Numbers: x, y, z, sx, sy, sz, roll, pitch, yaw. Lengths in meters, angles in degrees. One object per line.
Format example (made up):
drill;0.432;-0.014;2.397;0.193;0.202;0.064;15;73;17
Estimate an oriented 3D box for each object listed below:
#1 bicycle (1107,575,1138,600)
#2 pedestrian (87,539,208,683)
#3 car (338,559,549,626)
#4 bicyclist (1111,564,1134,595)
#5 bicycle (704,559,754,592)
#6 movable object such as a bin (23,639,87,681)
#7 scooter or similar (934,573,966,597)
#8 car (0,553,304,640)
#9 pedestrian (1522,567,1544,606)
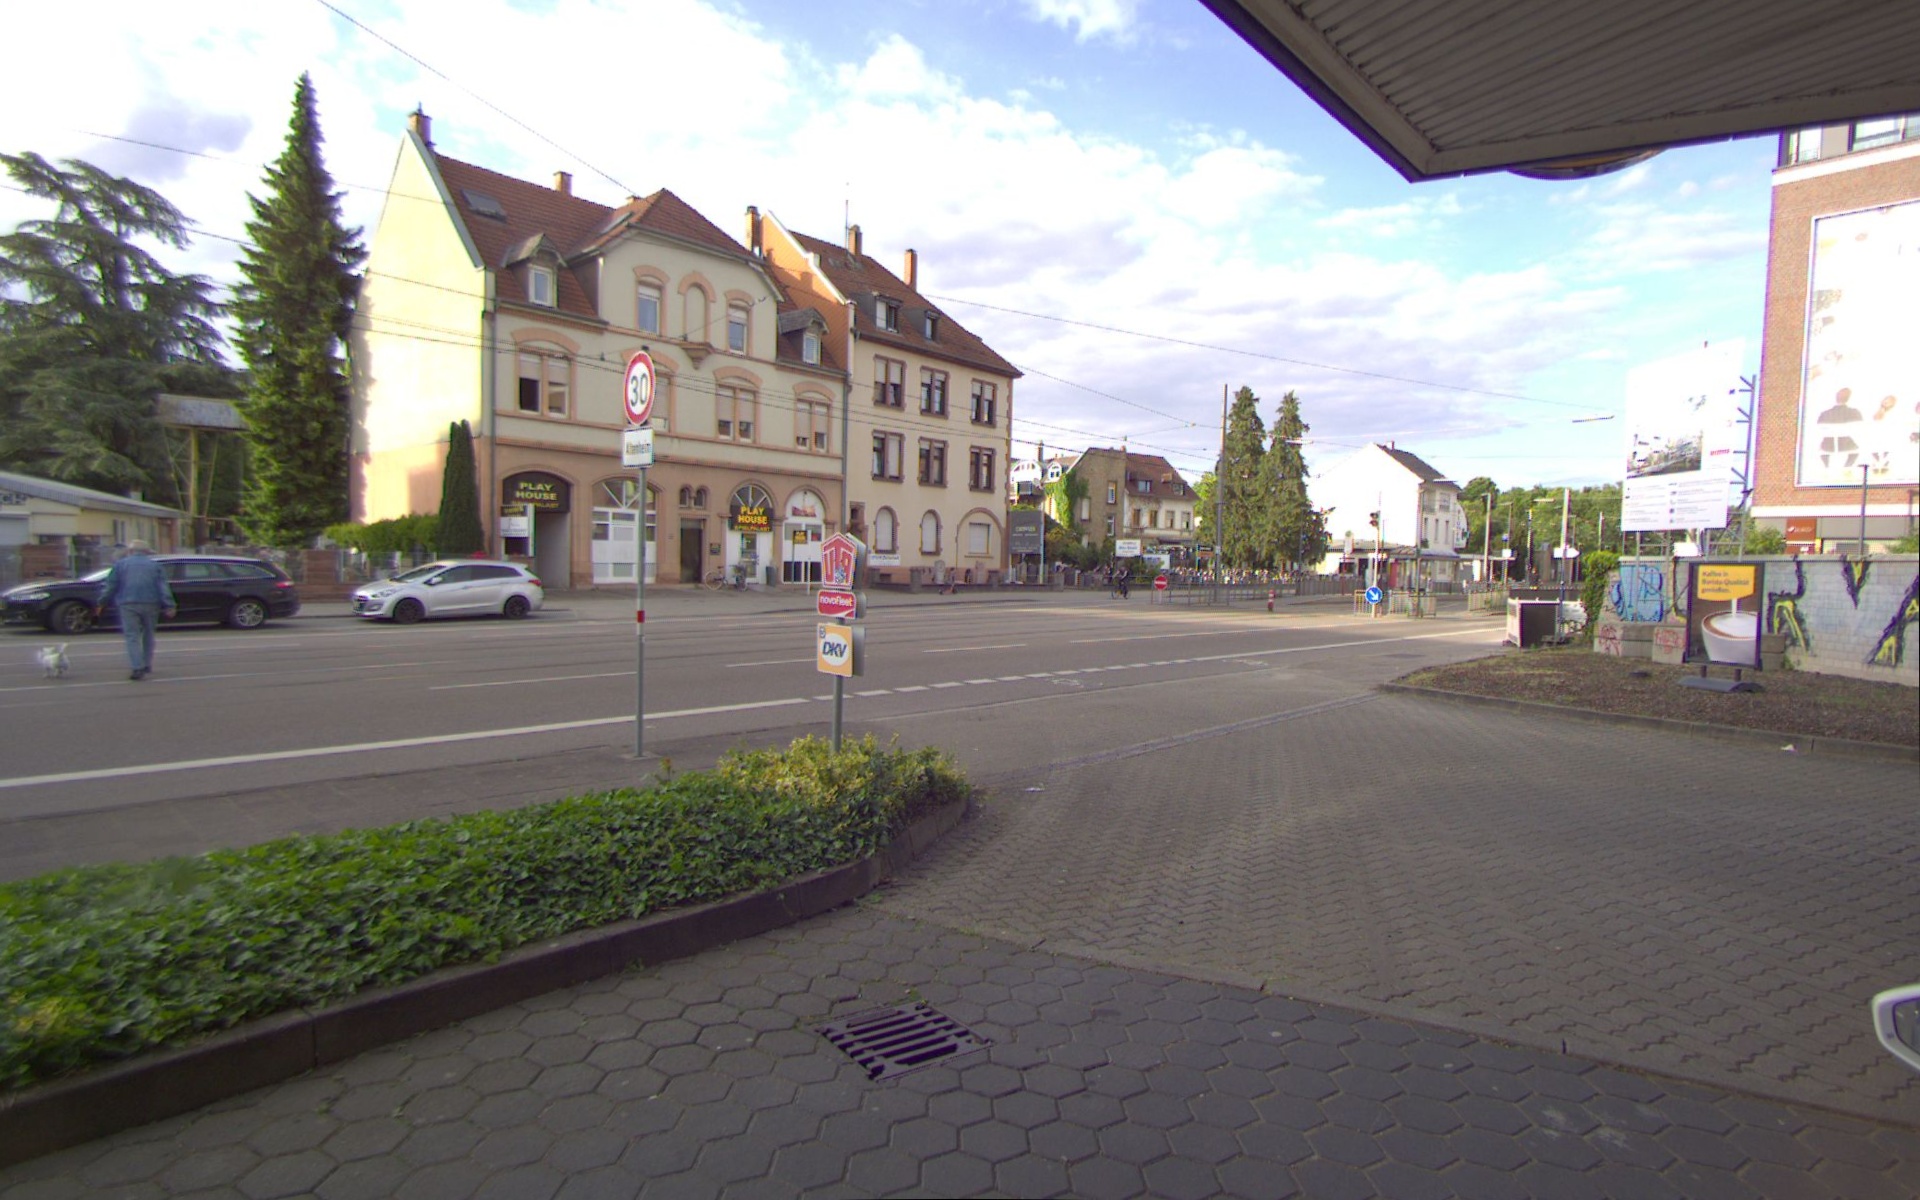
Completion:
bicycle;8.160;-0.633;50.405;0.670;1.239;1.910;2;2;40
pedestrian;-10.214;0.108;12.644;0.956;1.690;0.999;5;4;38
car;-12.922;-0.233;25.360;1.699;1.503;4.434;4;4;40
bicyclist;8.173;-1.030;50.390;0.670;1.555;1.080;2;2;40
bicycle;-9.108;-0.953;39.614;0.665;1.229;1.862;4;2;41
movable object such as a bin;-11.075;0.724;12.286;0.669;0.426;0.479;5;4;38
scooter or similar;-0.437;-0.661;45.115;0.461;1.041;1.655;4;3;40
car;-16.602;-0.138;20.738;1.983;1.520;4.755;4;4;39
pedestrian;30.316;-0.697;53.131;0.797;2.040;0.845;2;0;44
